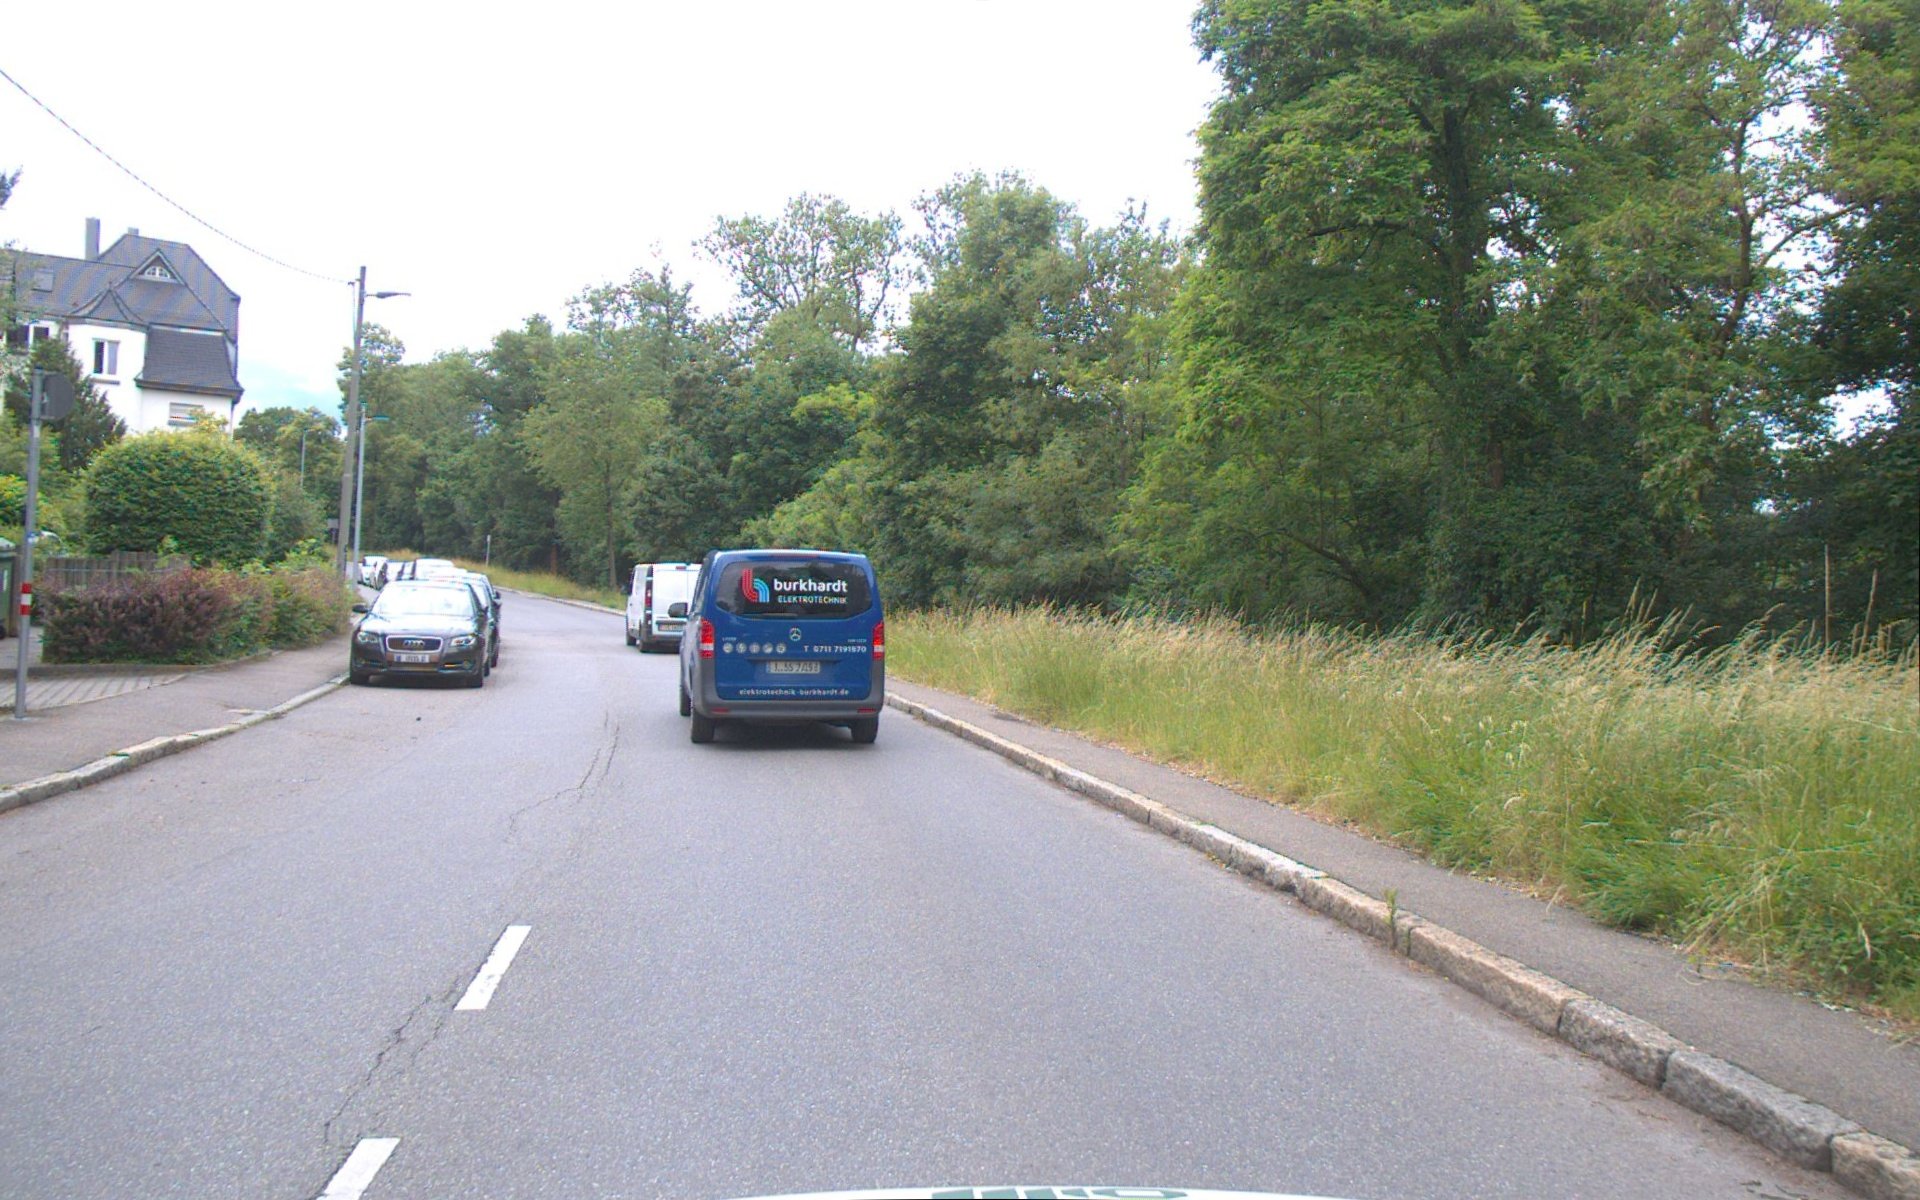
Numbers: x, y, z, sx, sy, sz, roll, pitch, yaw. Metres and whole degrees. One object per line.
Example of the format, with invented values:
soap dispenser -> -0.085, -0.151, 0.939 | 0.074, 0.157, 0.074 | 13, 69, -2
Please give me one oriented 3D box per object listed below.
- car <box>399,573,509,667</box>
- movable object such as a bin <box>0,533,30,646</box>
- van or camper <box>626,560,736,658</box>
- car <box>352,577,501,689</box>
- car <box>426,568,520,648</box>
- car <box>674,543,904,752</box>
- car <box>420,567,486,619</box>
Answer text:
car -> -8.781, 0.302, 28.965 | 1.622, 1.467, 4.315 | 3, 0, -15
movable object such as a bin -> -13.531, -0.182, 22.596 | 1.075, 1.492, 1.447 | 3, 1, -17
van or camper -> -6.399, 0.142, 37.557 | 1.986, 1.990, 4.878 | 2, 1, -15
car -> -7.681, 0.419, 24.152 | 1.705, 1.443, 4.488 | 2, 0, -14
car -> -10.360, 0.142, 35.340 | 1.732, 1.506, 4.110 | 4, 0, -15
car -> -1.937, 0.386, 17.426 | 1.880, 1.869, 4.281 | 2, 2, -13
car -> -17.066, -0.268, 55.560 | 1.700, 1.518, 4.386 | 6, -1, -21
